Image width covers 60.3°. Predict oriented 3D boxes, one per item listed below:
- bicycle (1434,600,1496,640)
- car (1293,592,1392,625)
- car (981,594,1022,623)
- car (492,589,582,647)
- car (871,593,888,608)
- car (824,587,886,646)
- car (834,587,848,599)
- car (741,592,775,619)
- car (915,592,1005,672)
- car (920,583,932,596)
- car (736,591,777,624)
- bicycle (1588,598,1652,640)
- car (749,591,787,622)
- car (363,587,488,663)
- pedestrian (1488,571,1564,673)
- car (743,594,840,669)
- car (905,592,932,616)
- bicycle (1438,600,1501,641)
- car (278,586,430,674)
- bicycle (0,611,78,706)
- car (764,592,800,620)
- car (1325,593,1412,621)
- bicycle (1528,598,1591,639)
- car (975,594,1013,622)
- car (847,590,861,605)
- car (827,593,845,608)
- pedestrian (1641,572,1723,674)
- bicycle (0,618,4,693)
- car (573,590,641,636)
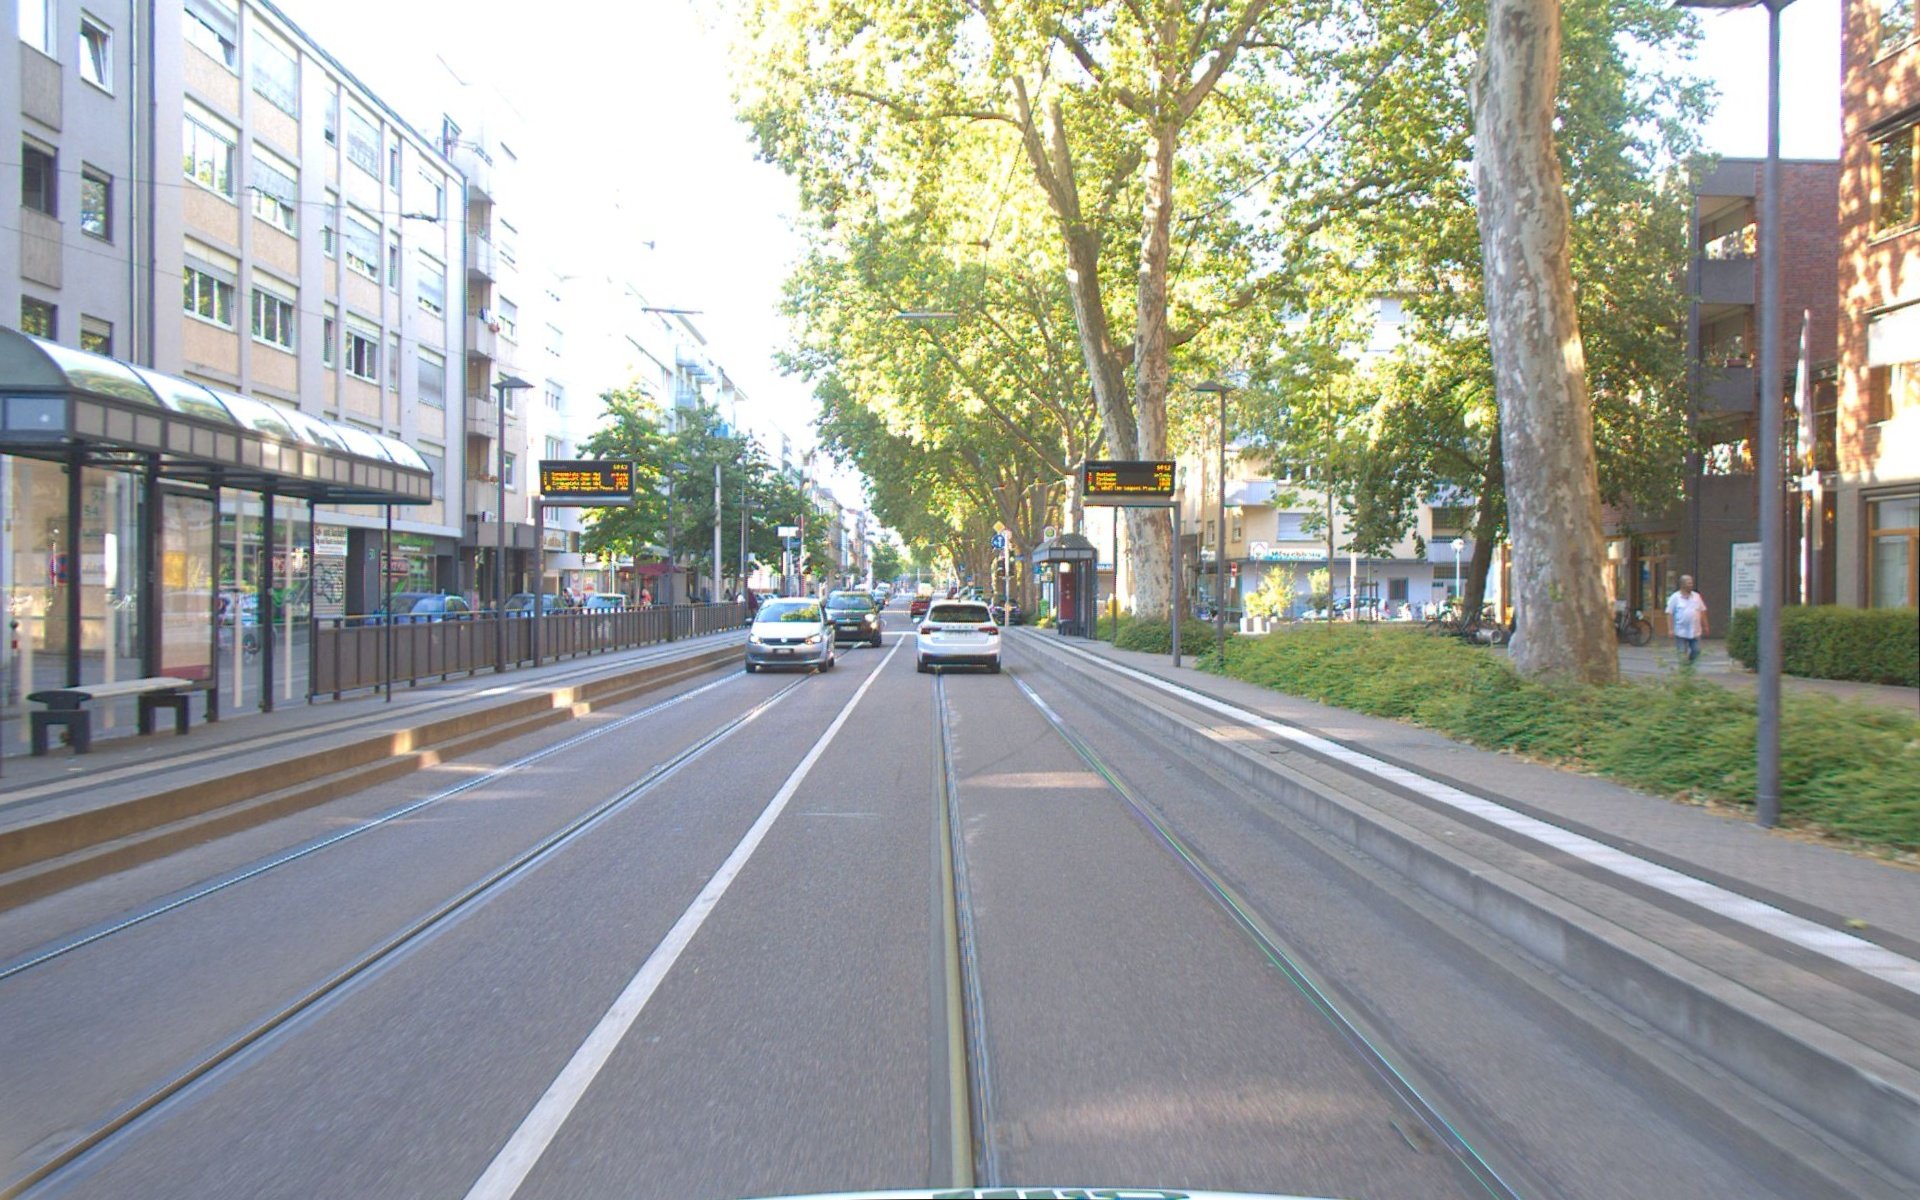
[{"bbox_3d":[13.309,0.517,43.616,1.533,1.055,0.504,0,0,20],"label":"bicycle"},{"bbox_3d":[16.626,0.365,72.009,3.905,1.396,1.867,0,0,1],"label":"car"},{"bbox_3d":[2.102,0.420,85.448,1.953,1.478,3.999,0,0,-1],"label":"car"},{"bbox_3d":[-12.428,0.491,48.806,1.644,1.575,3.999,2,0,-1],"label":"car"},{"bbox_3d":[-8.774,0.055,181.167,1.752,1.540,3.999,0,0,-1],"label":"car"},{"bbox_3d":[-3.069,0.448,48.864,1.659,1.673,3.999,0,0,-1],"label":"car"},{"bbox_3d":[-16.043,-0.974,223.455,1.752,1.540,3.999,0,0,-1],"label":"car"},{"bbox_3d":[-12.527,0.309,102.762,1.644,1.575,3.999,2,0,-1],"label":"car"},{"bbox_3d":[-0.031,0.614,34.070,1.752,1.540,3.999,0,0,-1],"label":"car"},{"bbox_3d":[-4.977,-1.514,242.240,1.828,1.925,3.999,0,0,-1],"label":"car"},{"bbox_3d":[-10.628,0.372,86.537,1.644,1.575,3.999,2,0,-1],"label":"car"},{"bbox_3d":[17.095,0.484,42.880,1.534,1.055,0.479,0,0,22],"label":"bicycle"},{"bbox_3d":[-10.518,0.356,90.880,1.644,1.575,3.999,2,0,-1],"label":"car"},{"bbox_3d":[-12.098,0.527,37.672,1.561,1.575,3.999,2,0,-1],"label":"car"},{"bbox_3d":[9.349,0.355,27.353,0.952,1.652,0.887,0,0,-1],"label":"pedestrian"},{"bbox_3d":[-3.434,0.607,34.236,1.659,1.444,3.999,0,0,-1],"label":"car"},{"bbox_3d":[-2.803,0.258,111.725,1.752,1.540,3.999,0,0,-1],"label":"car"},{"bbox_3d":[13.161,0.519,42.697,1.533,1.055,0.479,0,0,20],"label":"bicycle"},{"bbox_3d":[-11.936,0.548,32.836,1.561,1.575,3.999,2,0,-1],"label":"car"},{"bbox_3d":[-12.264,0.686,20.556,2.207,1.092,0.636,3,0,0],"label":"bicycle"},{"bbox_3d":[-10.665,0.330,99.222,1.758,1.536,3.999,2,0,-1],"label":"car"},{"bbox_3d":[20.383,0.350,82.576,3.905,1.396,1.867,0,0,0],"label":"car"},{"bbox_3d":[15.521,0.480,42.828,1.533,1.055,0.479,0,0,20],"label":"bicycle"},{"bbox_3d":[1.833,0.402,90.529,1.953,1.478,3.999,0,0,-1],"label":"car"},{"bbox_3d":[-15.357,-0.349,240.006,1.951,2.110,3.999,0,0,-1],"label":"car"},{"bbox_3d":[-13.381,0.046,178.884,1.752,1.540,3.999,0,0,-1],"label":"car"},{"bbox_3d":[11.864,0.364,27.203,0.952,1.652,0.887,0,0,-1],"label":"pedestrian"},{"bbox_3d":[-12.226,0.691,18.871,2.207,1.092,0.636,3,0,0],"label":"bicycle"},{"bbox_3d":[-12.964,0.449,60.952,1.644,1.575,3.999,2,0,-1],"label":"car"}]
